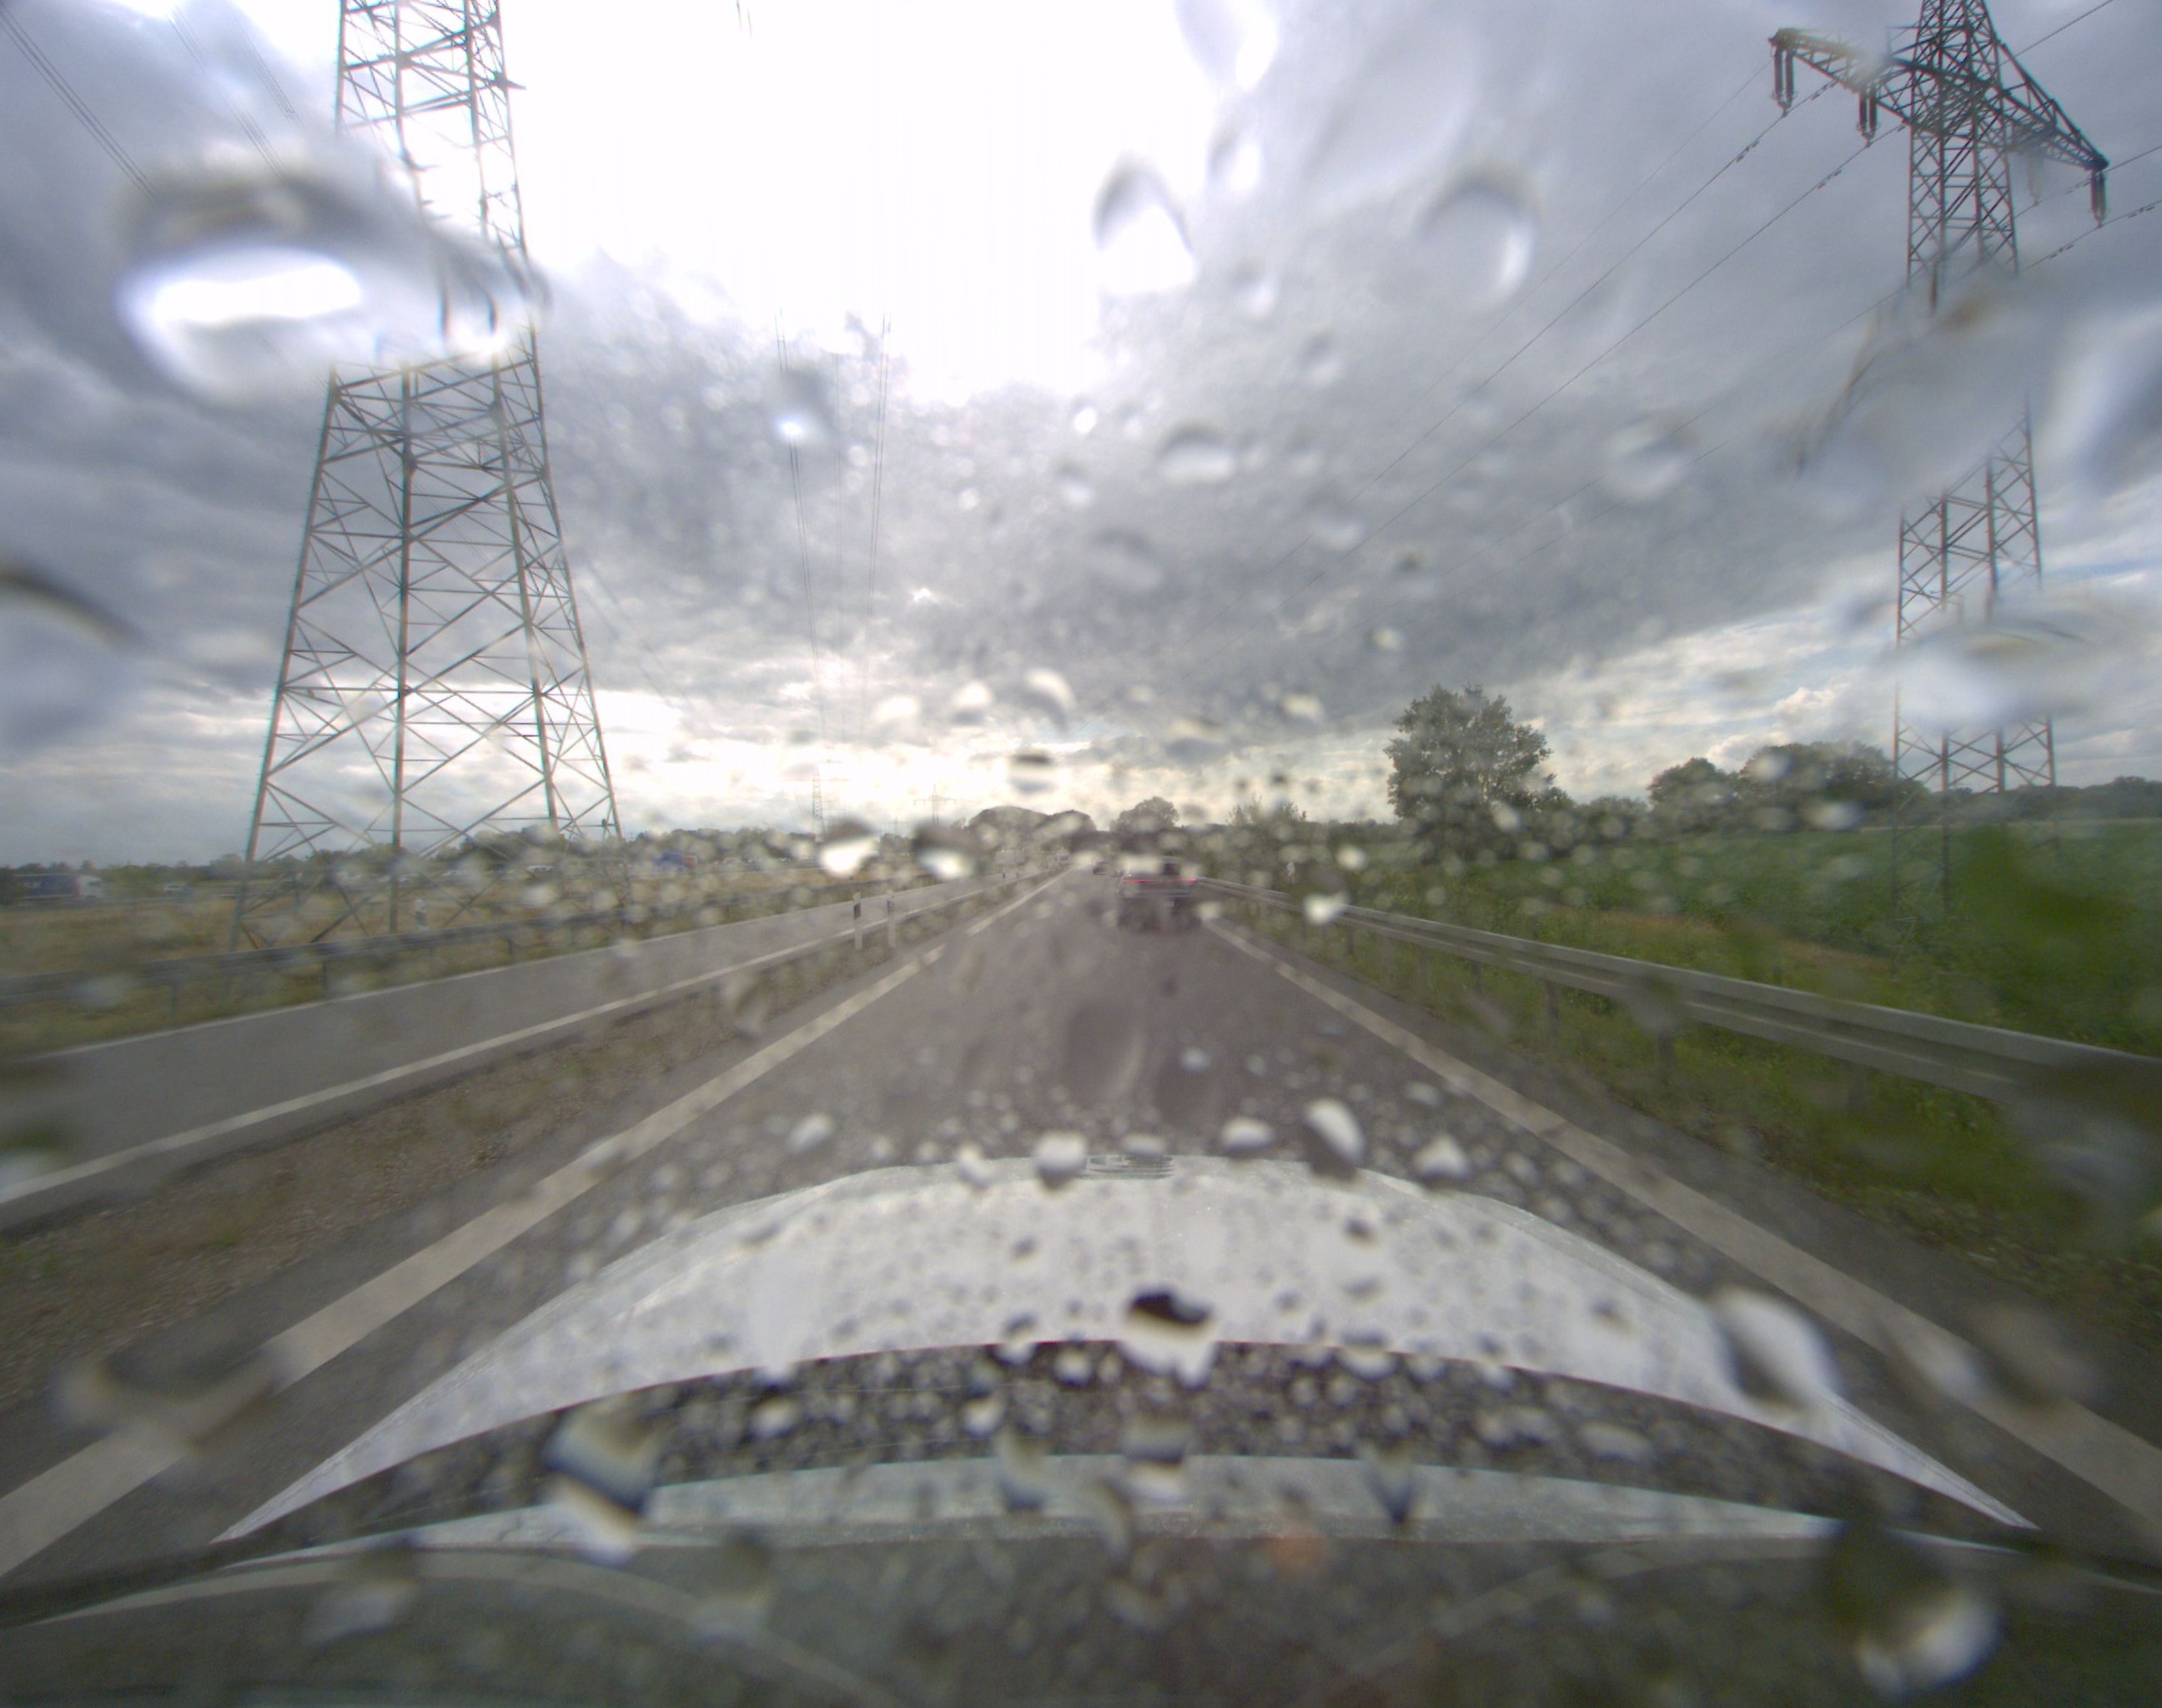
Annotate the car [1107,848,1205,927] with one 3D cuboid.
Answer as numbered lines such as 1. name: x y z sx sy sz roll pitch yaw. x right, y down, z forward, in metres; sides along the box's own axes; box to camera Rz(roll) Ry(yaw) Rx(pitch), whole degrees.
1. car: 1.646 0.673 18.748 1.985 1.566 4.153 -1 1 3

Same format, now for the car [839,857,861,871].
1. car: -60.873 2.640 214.869 3.405 3.610 8.957 -2 0 -30

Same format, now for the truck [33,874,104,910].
1. truck: -139.312 5.187 112.146 3.047 4.479 5.091 -1 2 13

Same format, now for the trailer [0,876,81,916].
1. trailer: -140.652 5.629 105.869 3.027 4.634 13.351 -1 2 12

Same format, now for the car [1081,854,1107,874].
1. car: 1.652 1.248 105.296 2.352 2.306 5.110 -2 2 -11

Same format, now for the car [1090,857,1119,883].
1. car: 1.973 1.298 70.010 2.115 2.018 5.530 -2 0 -2

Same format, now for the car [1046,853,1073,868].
1. car: -3.744 1.079 141.027 2.367 2.306 5.077 -3 3 -32

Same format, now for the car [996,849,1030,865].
1. car: -13.595 0.520 161.782 3.162 2.951 7.126 -4 3 -39
